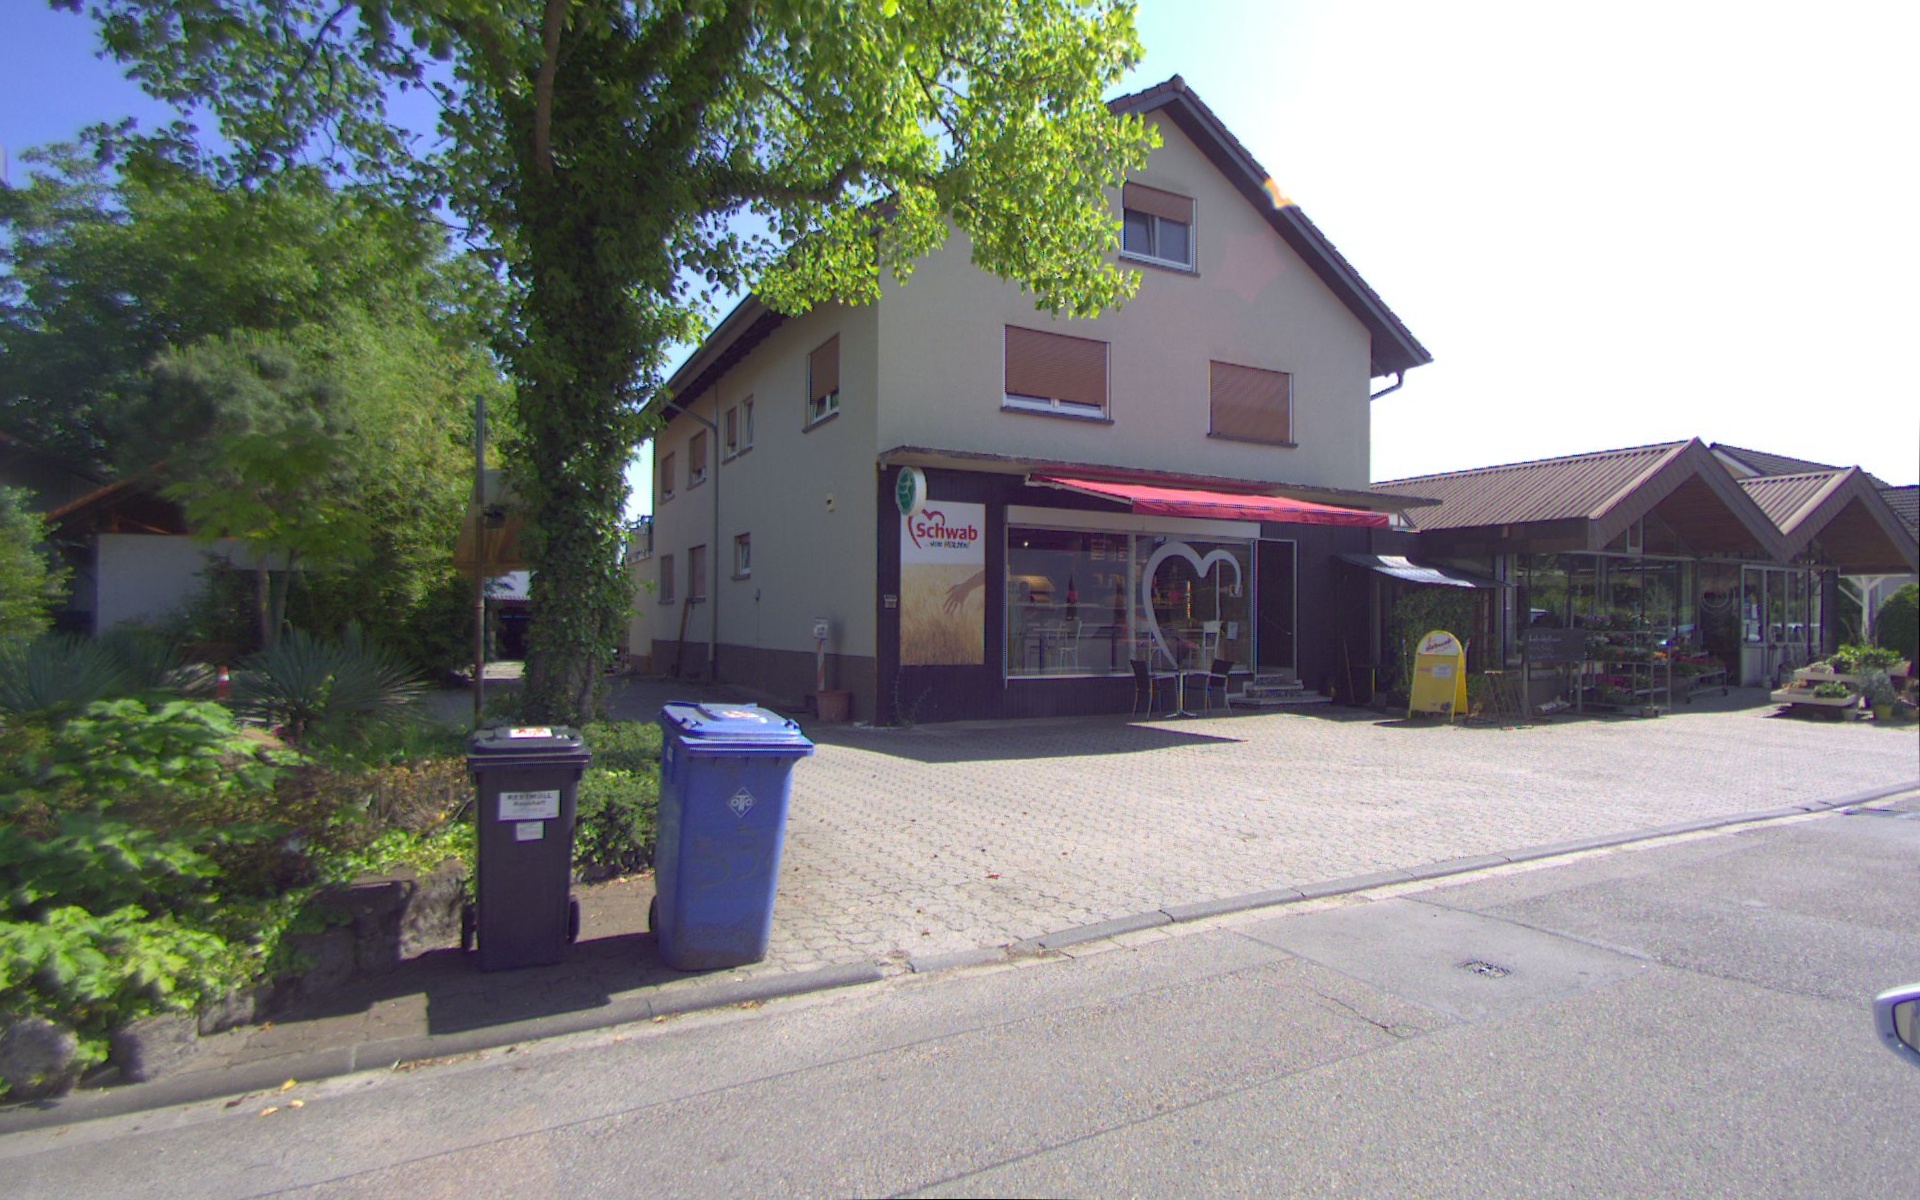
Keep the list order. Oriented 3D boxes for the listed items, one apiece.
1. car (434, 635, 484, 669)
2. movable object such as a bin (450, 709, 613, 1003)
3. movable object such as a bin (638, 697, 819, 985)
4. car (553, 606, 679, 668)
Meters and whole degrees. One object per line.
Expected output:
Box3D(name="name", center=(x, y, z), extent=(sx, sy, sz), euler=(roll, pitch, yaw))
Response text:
Box3D(name="car", center=(-22.441, 2.299, 45.101), extent=(1.877, 1.461, 3.976), euler=(1, -2, -25))
Box3D(name="movable object such as a bin", center=(-1.804, 1.015, 4.204), extent=(0.561, 1.038, 0.580), euler=(1, 0, -29))
Box3D(name="movable object such as a bin", center=(-1.051, 1.011, 4.491), extent=(0.605, 1.068, 0.727), euler=(1, 0, -29))
Box3D(name="car", center=(-14.231, 1.503, 41.588), extent=(4.596, 2.441, 2.178), euler=(1, -2, -30))
